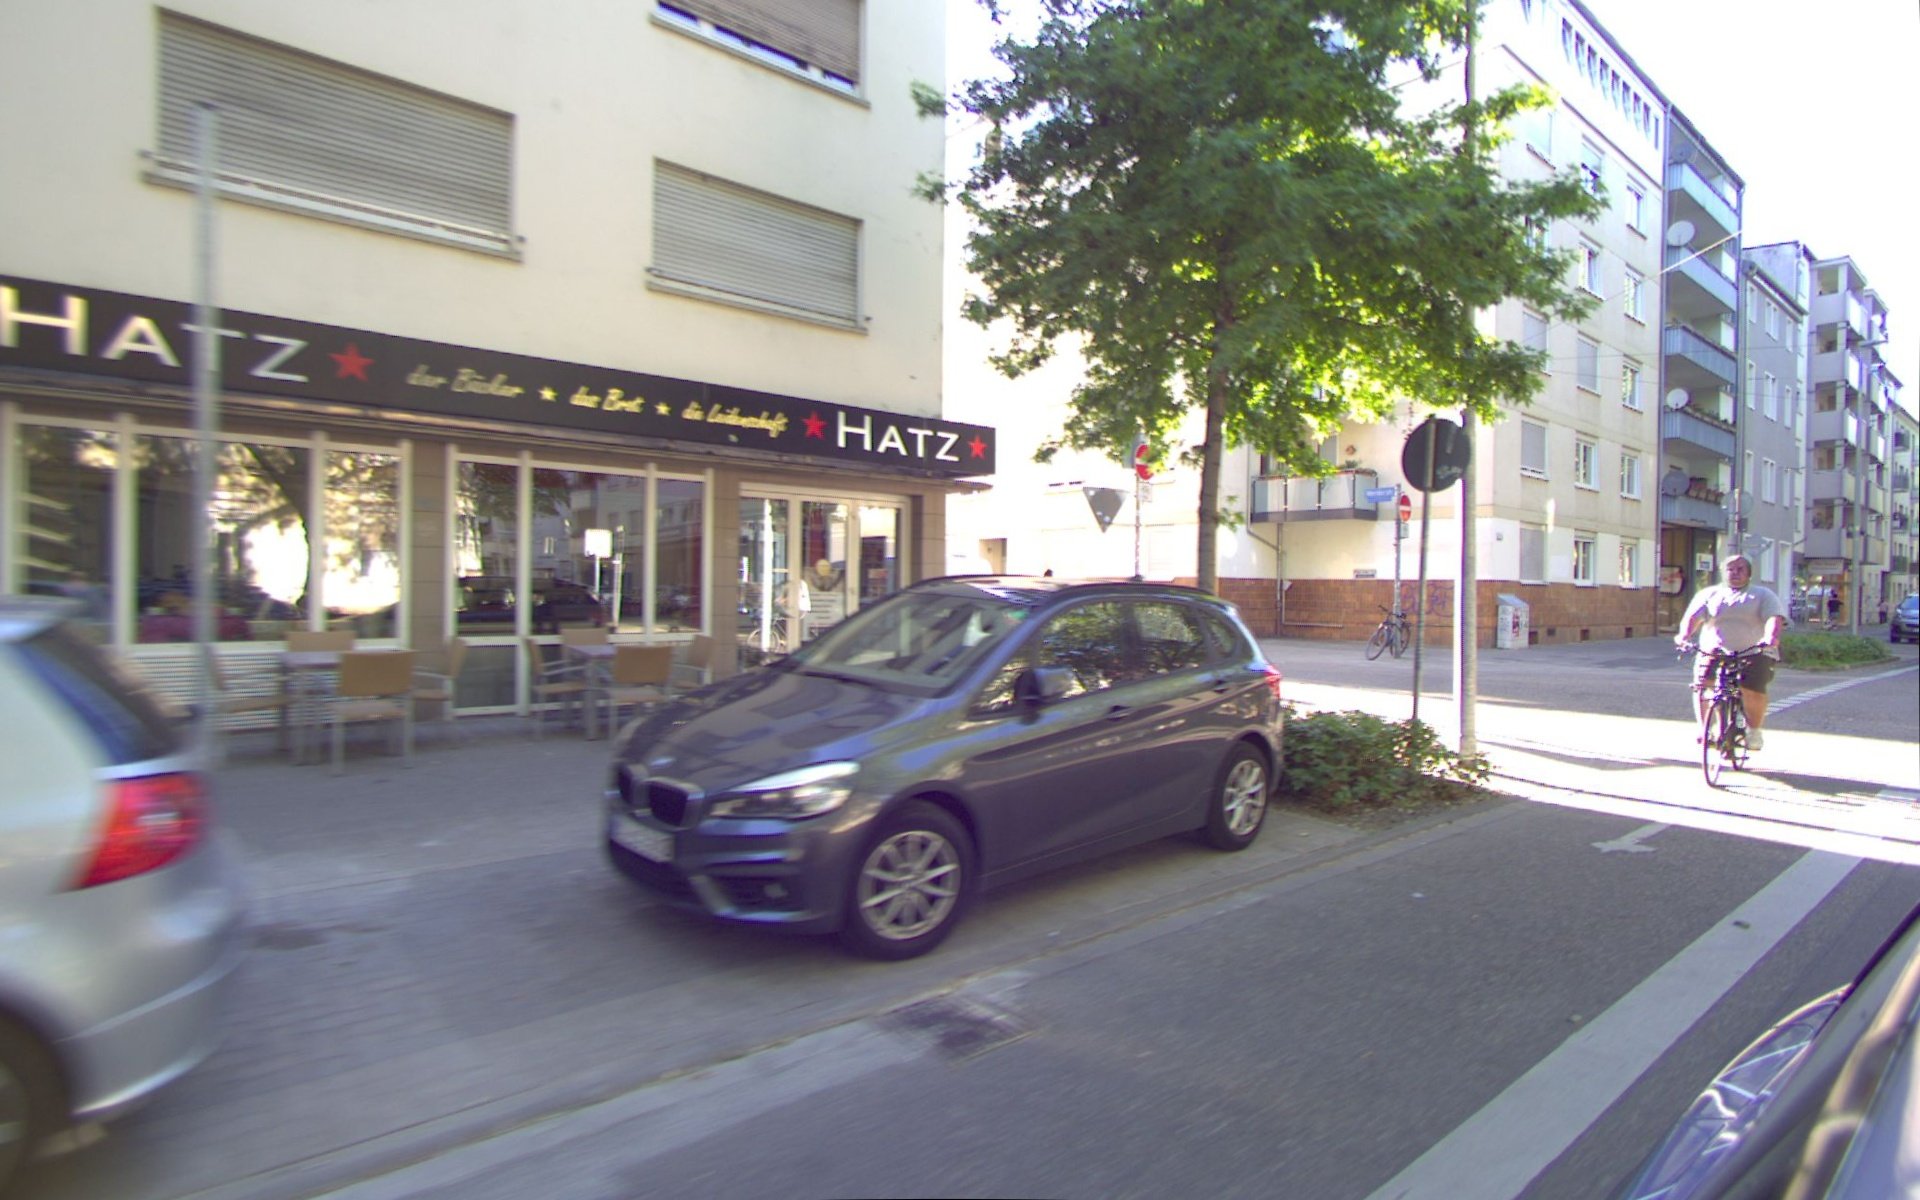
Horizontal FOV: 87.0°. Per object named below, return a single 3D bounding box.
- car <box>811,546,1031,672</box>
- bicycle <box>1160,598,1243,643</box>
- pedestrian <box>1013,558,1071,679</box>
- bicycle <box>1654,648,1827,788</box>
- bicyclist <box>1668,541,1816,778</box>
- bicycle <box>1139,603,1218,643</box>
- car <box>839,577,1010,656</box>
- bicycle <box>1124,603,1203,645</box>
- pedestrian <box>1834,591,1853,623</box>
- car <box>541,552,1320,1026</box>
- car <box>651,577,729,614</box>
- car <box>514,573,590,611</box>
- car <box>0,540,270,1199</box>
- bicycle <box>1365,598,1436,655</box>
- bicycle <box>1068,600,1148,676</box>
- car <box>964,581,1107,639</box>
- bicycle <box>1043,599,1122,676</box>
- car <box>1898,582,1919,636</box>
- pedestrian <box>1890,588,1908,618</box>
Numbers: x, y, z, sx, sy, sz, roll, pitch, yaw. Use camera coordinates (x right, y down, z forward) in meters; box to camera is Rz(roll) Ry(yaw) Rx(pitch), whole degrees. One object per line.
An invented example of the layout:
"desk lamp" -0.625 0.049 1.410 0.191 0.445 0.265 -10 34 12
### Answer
"car" -0.774 0.108 16.785 1.752 1.820 3.999 0 0 -35
"bicycle" 6.039 0.498 25.422 0.596 1.004 2.111 0 2 -36
"pedestrian" 1.213 0.252 14.881 0.694 1.706 0.769 2 1 13
"bicycle" 6.657 0.938 8.597 1.905 0.949 0.790 -1 0 -40
"bicyclist" 6.622 0.463 8.570 1.080 1.854 0.768 0 0 -40
"bicycle" 5.403 0.548 25.167 0.490 0.942 2.111 0 0 -36
"car" -0.866 0.301 22.722 1.696 1.601 3.992 -1 1 -42
"bicycle" 4.952 0.567 24.770 0.490 0.942 2.111 0 0 -36
"pedestrian" 42.091 0.344 48.198 0.589 1.521 0.590 0 0 -40
"car" 0.149 0.603 5.554 4.190 1.590 1.721 -1 4 -44
"car" -11.866 -0.216 44.381 1.696 1.527 3.992 0 1 -42
"car" -17.074 -0.351 42.243 1.696 1.527 3.992 0 1 -42
"car" -3.816 0.625 1.837 4.056 1.555 1.790 0 3 -41
"bicycle" 9.565 0.550 21.939 1.961 1.166 0.615 -1 1 -41
"bicycle" 2.518 0.612 17.462 0.471 1.222 2.078 0 0 -19
"car" 2.066 0.222 28.514 1.696 1.527 3.992 0 1 -42
"bicycle" 2.056 0.603 17.309 0.471 1.222 2.078 0 0 -19
"car" 36.352 0.296 37.447 3.929 1.949 1.957 -1 0 -40
"pedestrian" 55.466 0.178 59.763 0.666 1.716 0.696 0 0 -41
